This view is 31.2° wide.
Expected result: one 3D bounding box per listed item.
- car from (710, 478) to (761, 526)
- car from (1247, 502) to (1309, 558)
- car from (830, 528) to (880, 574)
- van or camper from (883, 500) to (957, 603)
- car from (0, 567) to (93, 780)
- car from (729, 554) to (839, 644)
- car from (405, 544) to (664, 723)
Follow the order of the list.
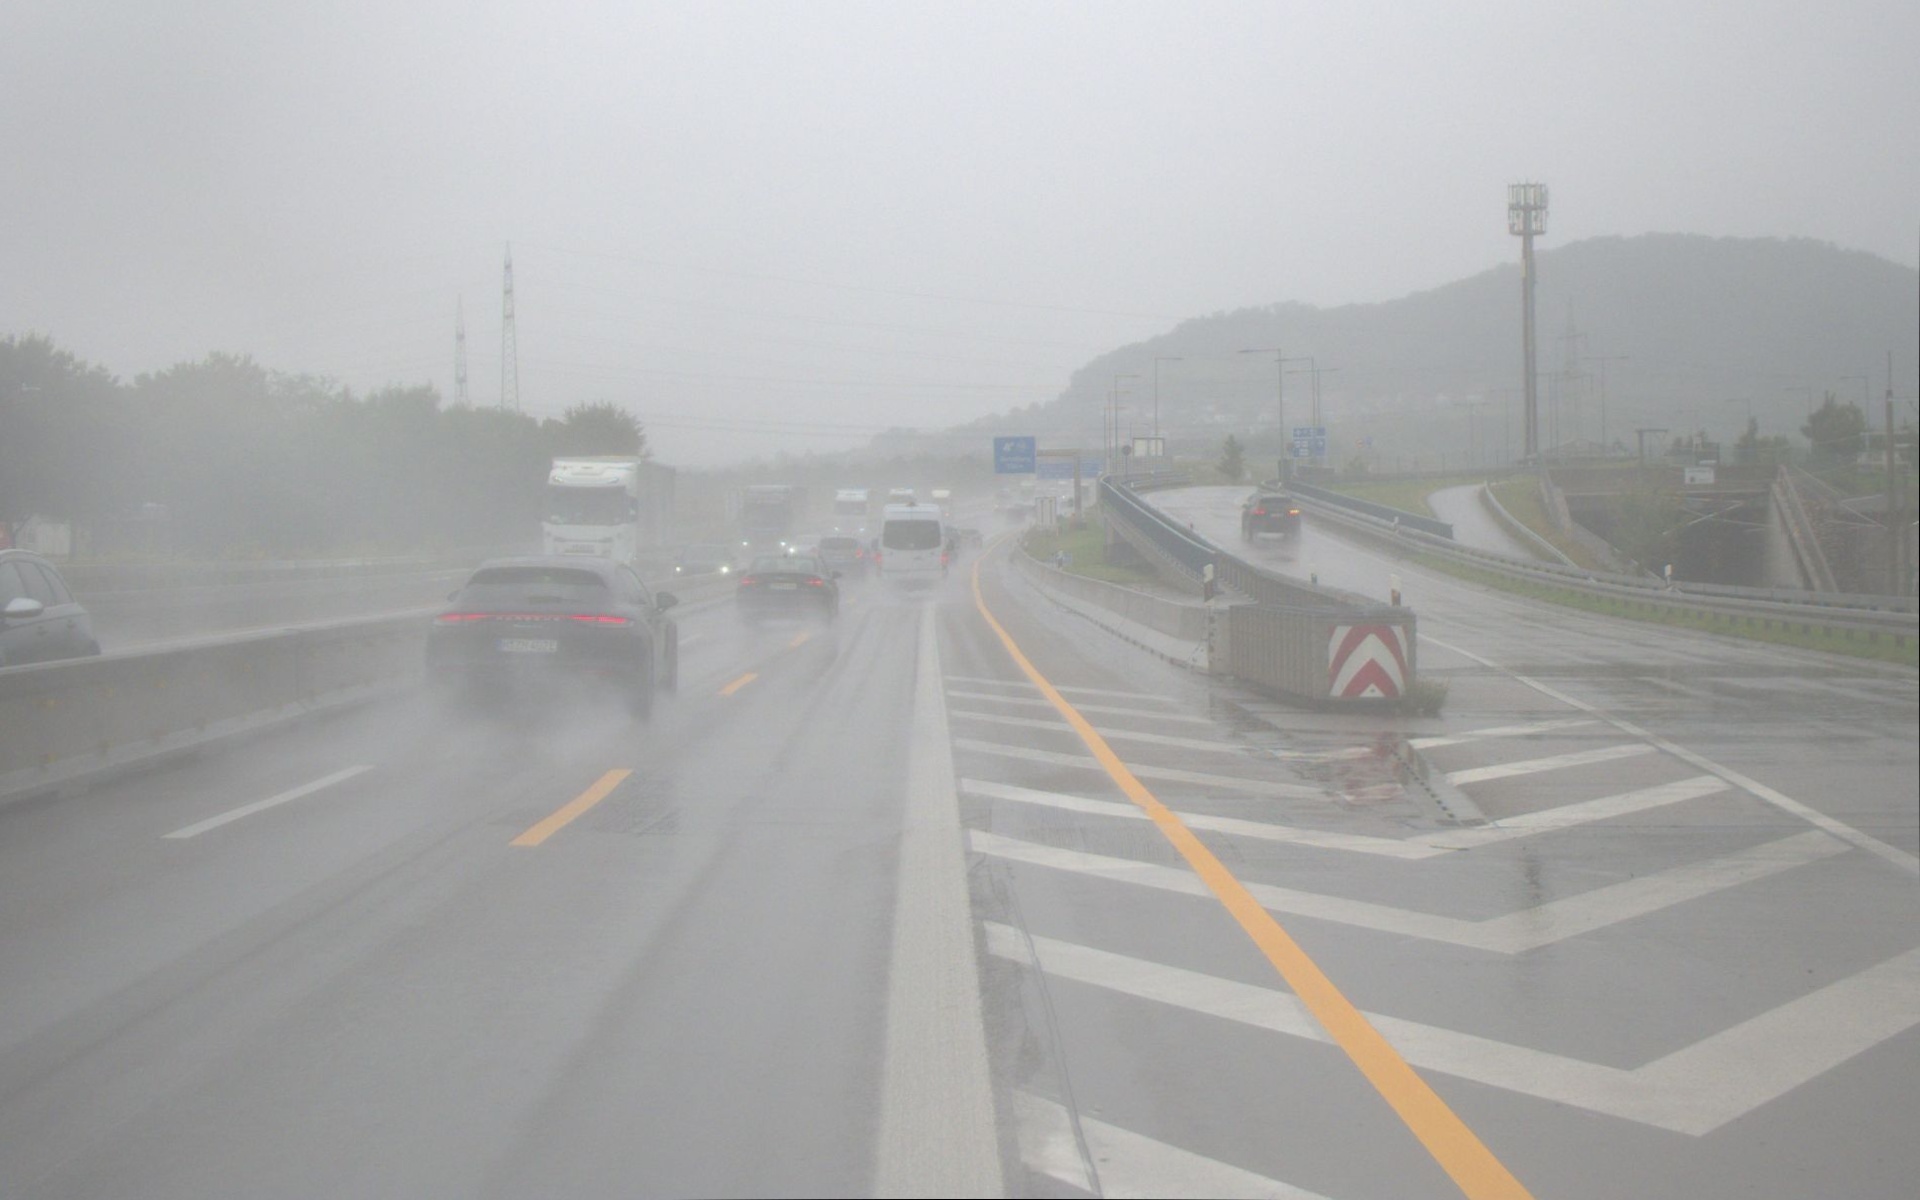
[{"bbox_3d":[-13.754,-6.000,210.915,2.710,2.803,5.095,1,0,0],"label":"car"},{"bbox_3d":[12.426,-2.731,134.479,1.993,2.135,4.000,1,0,-1],"label":"car"},{"bbox_3d":[-3.548,-1.647,116.515,1.566,1.475,2.822,-2,0,-1],"label":"car"},{"bbox_3d":[-1.123,-1.344,95.749,1.996,2.768,4.050,1,0,-1],"label":"van or camper"},{"bbox_3d":[-7.763,0.519,24.920,1.761,1.522,4.951,1,0,-1],"label":"car"},{"bbox_3d":[-3.248,-0.047,64.128,1.844,1.486,4.262,-2,2,-1],"label":"car"},{"bbox_3d":[-3.765,0.262,31.069,1.844,1.486,4.262,1,0,-1],"label":"car"}]
